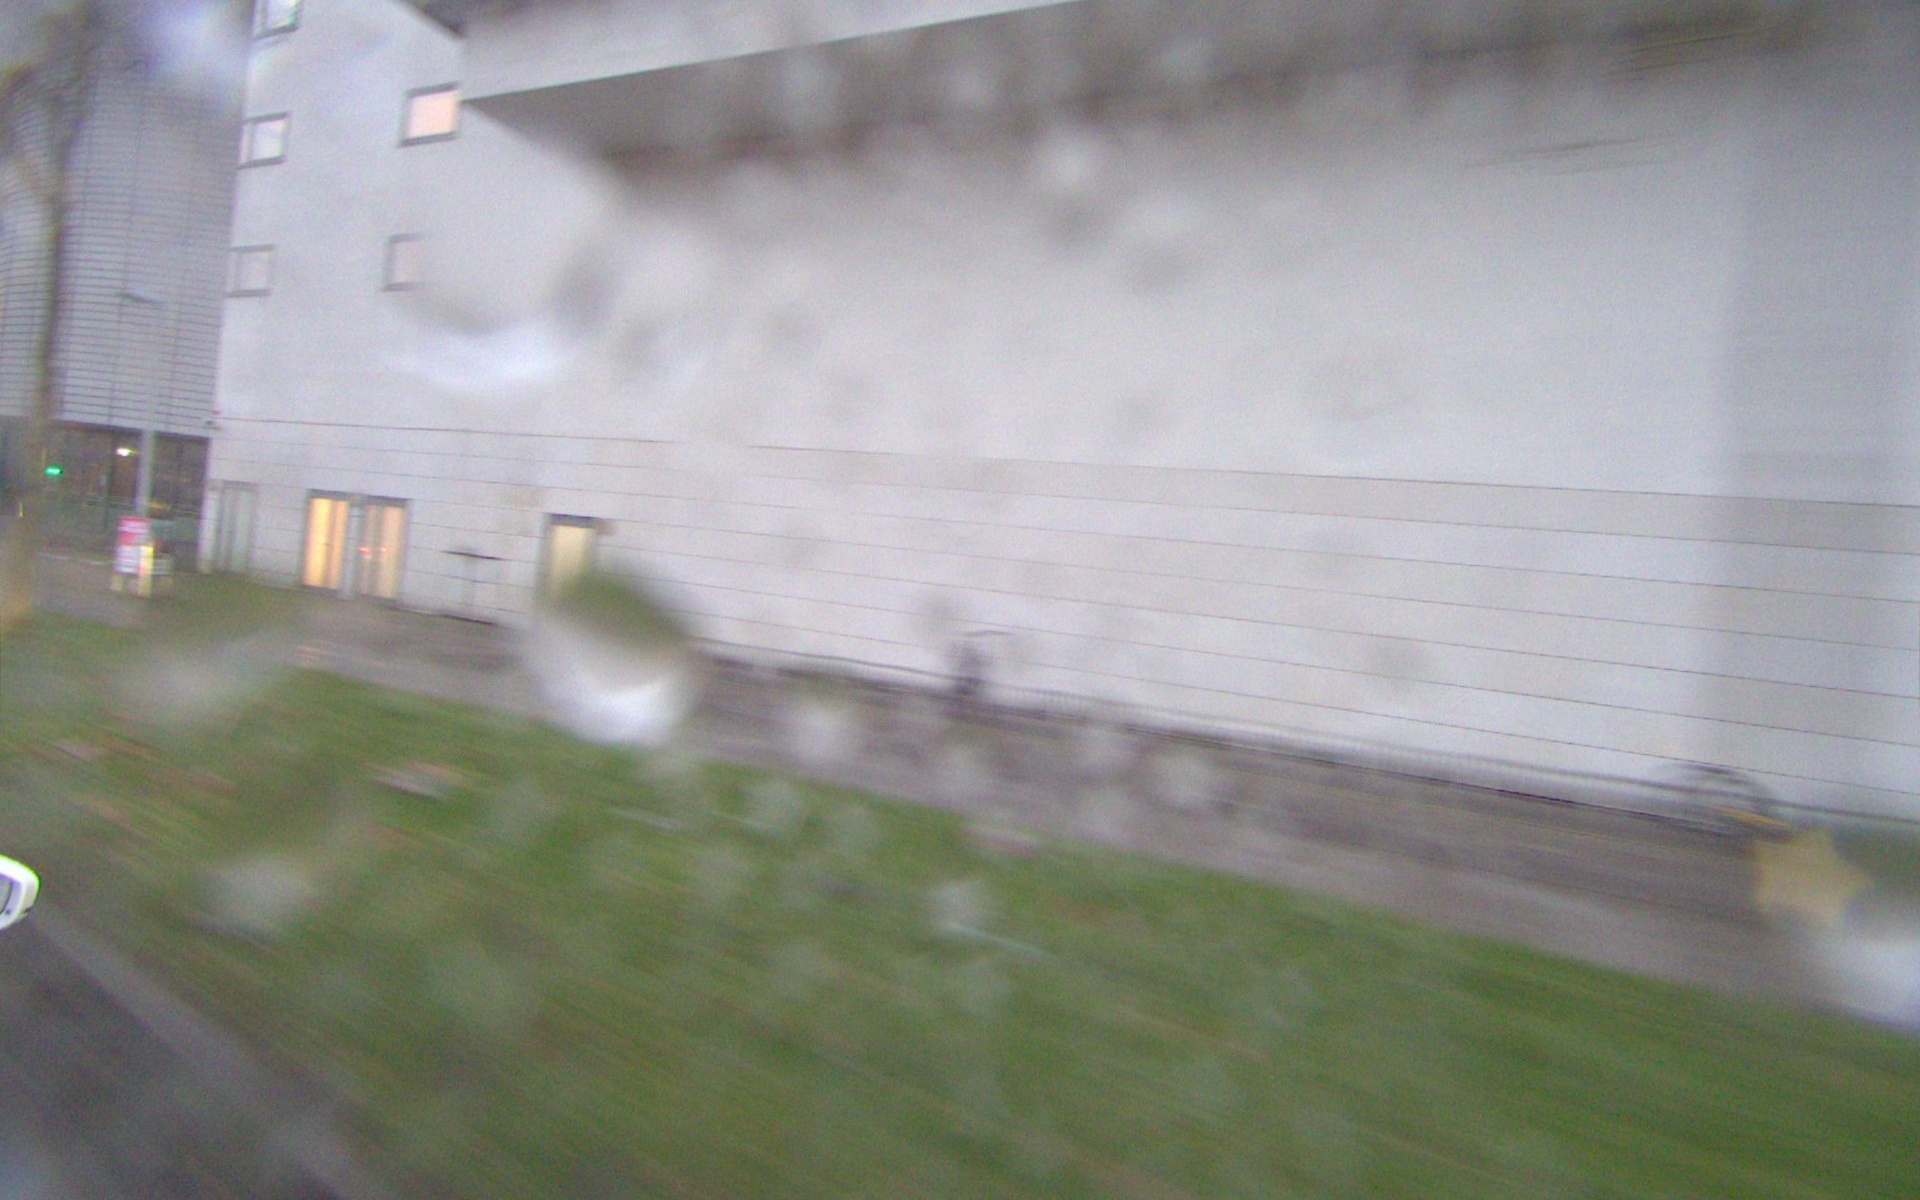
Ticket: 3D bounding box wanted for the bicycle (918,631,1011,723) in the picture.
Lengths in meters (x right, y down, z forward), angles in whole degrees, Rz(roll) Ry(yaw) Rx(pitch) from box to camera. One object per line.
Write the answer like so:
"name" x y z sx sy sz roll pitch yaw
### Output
"bicycle" 0.088 0.965 12.929 0.389 1.065 1.813 7 0 24
